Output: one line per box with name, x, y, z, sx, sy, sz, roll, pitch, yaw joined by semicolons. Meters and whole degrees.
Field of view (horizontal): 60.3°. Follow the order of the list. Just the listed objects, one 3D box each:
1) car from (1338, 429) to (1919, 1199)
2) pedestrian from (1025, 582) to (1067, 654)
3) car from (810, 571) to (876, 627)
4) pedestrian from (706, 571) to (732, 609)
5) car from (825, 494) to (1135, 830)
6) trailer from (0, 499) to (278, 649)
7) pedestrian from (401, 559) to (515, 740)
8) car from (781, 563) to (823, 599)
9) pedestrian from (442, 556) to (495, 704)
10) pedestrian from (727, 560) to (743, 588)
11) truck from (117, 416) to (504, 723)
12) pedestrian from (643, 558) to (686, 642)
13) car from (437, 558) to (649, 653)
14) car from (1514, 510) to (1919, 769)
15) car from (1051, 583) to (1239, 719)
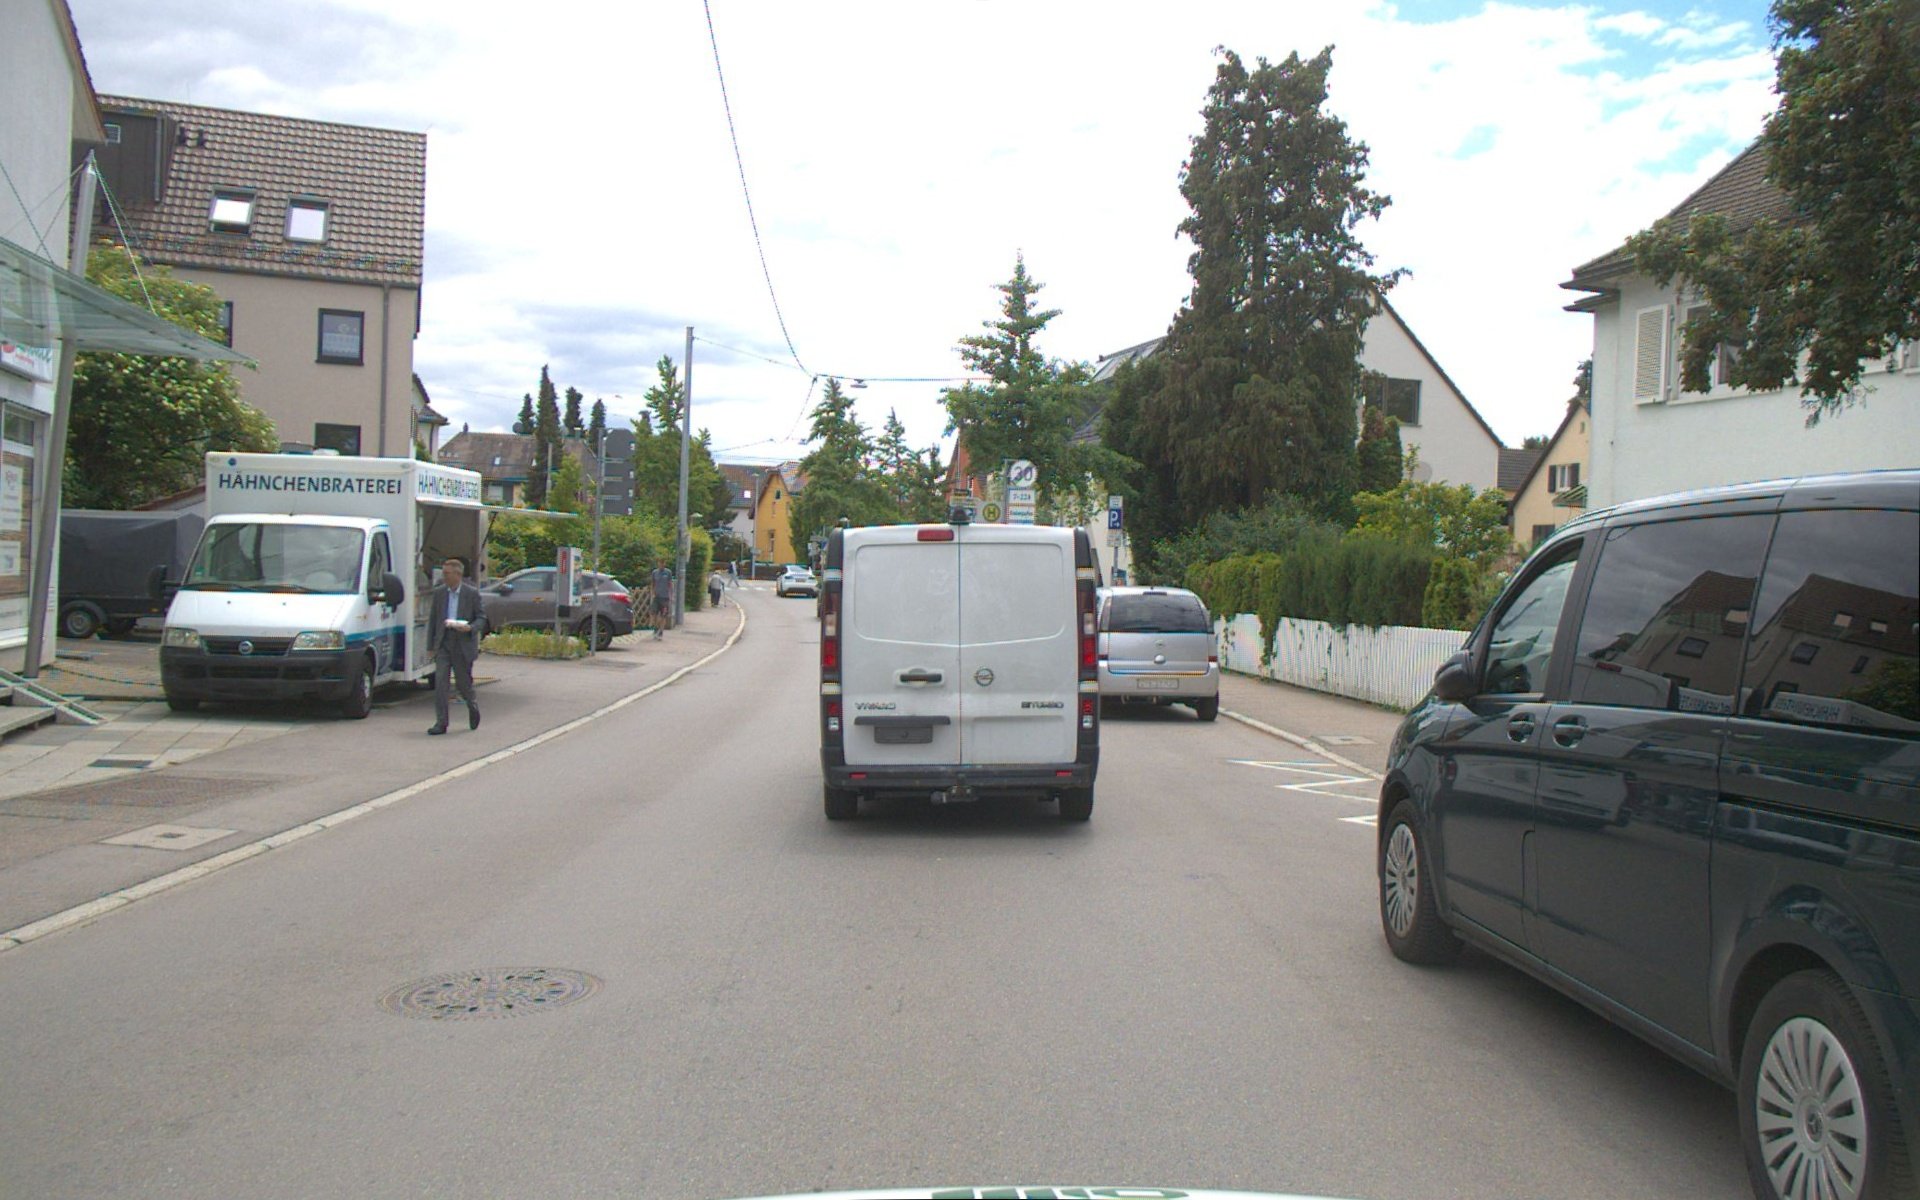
car;2.863;0.611;5.549;1.870;1.880;5.156;2;0;-1
pedestrian;2.102;0.435;40.635;0.837;1.674;0.883;4;0;-4
car;-4.205;-0.062;58.999;1.957;1.880;3.992;1;1;-9
pedestrian;-10.073;-0.426;69.171;0.866;1.511;0.451;4;0;-29
car;-0.050;0.383;12.393;1.878;2.037;4.433;1;0;-5
trailer;-14.086;-0.463;27.368;4.771;2.116;1.702;4;2;-8
pedestrian;-5.017;0.480;16.606;0.708;1.716;1.109;4;0;-1
car;-8.334;-0.994;87.114;1.957;1.813;3.992;1;1;-9
pedestrian;-5.880;0.354;19.802;0.393;1.724;0.596;4;0;-6
pedestrian;-13.619;-1.556;100.092;0.791;1.637;0.625;4;0;-14
truck;-7.195;-0.312;19.370;2.425;2.890;6.699;2;0;-6
pedestrian;-7.210;0.008;40.395;0.718;1.979;1.217;4;0;-1
car;-8.989;0.114;35.775;4.241;1.725;1.790;4;0;-16
car;9.515;0.423;20.703;2.454;2.728;5.170;4;0;-13
car;2.310;0.595;21.678;1.725;1.610;4.015;0;0;-5
